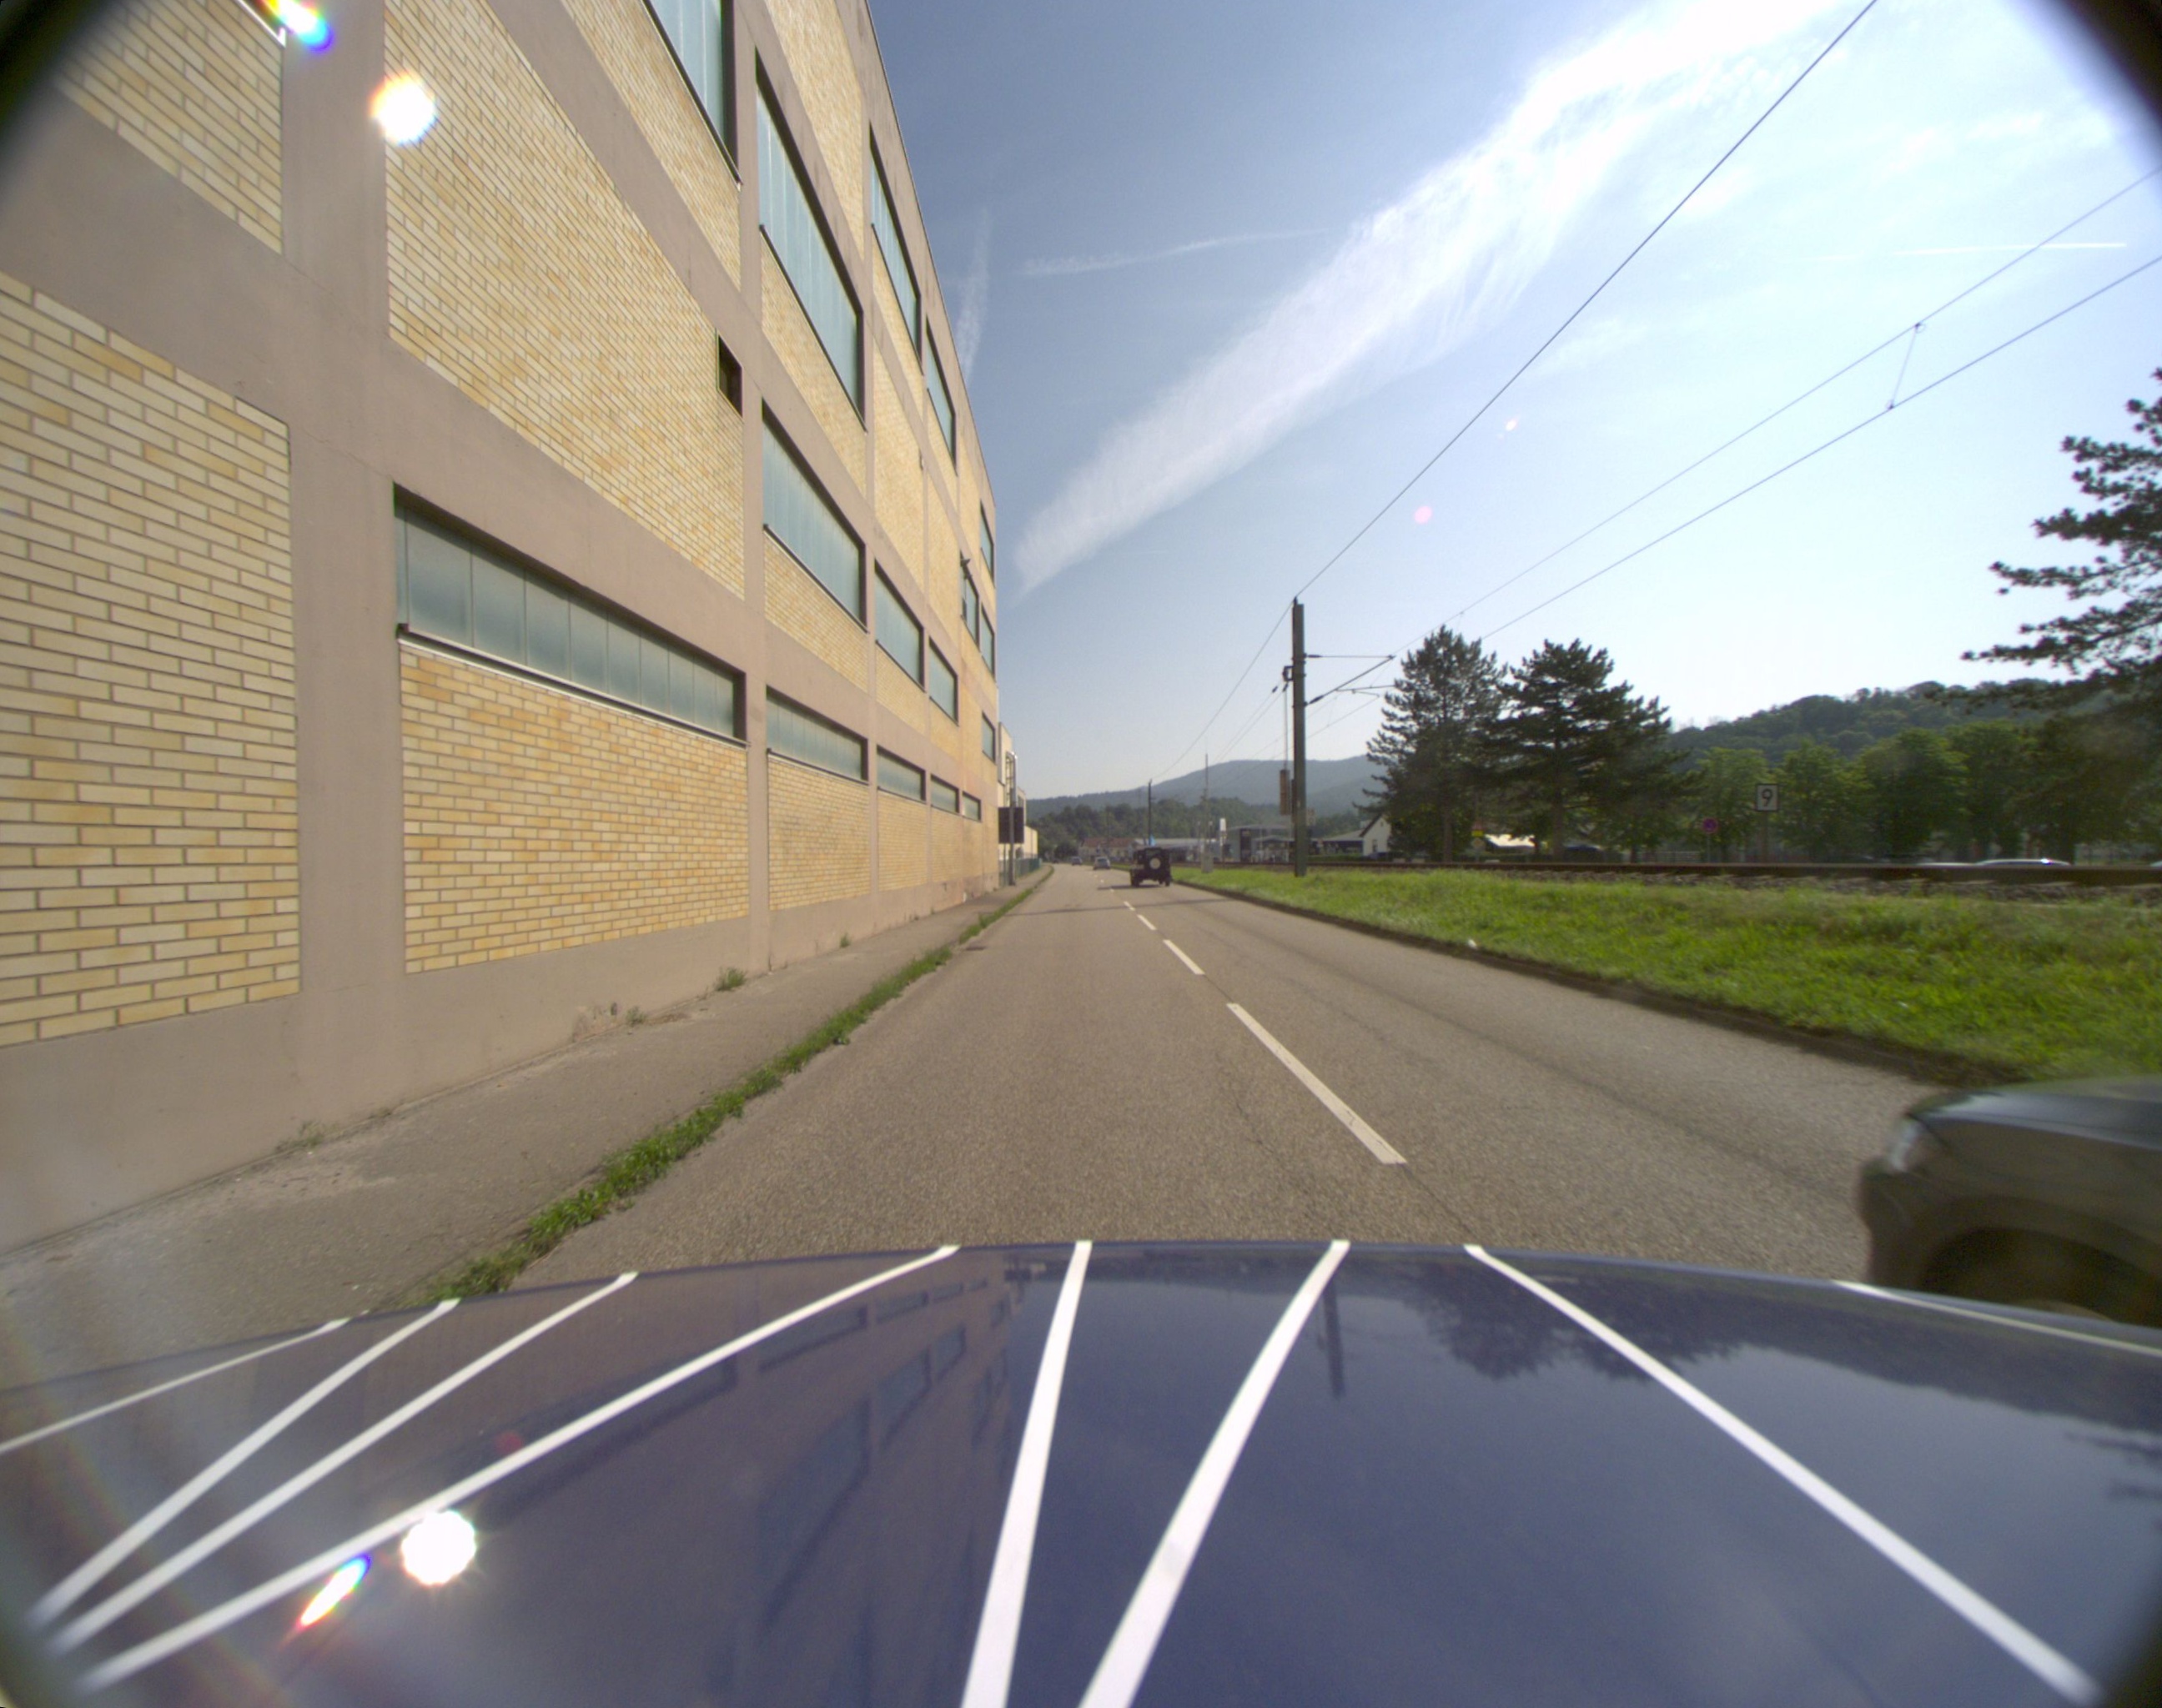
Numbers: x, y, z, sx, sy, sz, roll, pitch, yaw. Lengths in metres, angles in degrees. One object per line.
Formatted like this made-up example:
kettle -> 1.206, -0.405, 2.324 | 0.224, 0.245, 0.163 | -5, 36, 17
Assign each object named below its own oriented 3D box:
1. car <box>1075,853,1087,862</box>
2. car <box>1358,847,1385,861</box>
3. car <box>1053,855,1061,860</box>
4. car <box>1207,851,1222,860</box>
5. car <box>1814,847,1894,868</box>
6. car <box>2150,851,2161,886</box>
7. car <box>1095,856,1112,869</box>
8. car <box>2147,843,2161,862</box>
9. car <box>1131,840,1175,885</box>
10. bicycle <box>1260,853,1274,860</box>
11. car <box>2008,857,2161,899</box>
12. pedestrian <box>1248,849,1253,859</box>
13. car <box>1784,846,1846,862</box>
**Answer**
car -> -0.030, 0.685, 145.582 | 1.912, 1.591, 4.568 | -1, 1, -3
car -> 29.069, 0.023, 76.141 | 1.394, 1.344, 2.893 | 0, 1, -5
car -> -6.801, 1.098, 215.869 | 1.769, 1.395, 4.117 | -1, 0, -8
car -> 26.067, 0.247, 148.104 | 1.523, 1.679, 4.367 | -2, 1, -7
car -> 58.370, 0.256, 57.439 | 1.684, 1.539, 3.996 | 0, 0, -9
car -> 44.239, 0.571, 28.887 | 3.841, 1.398, 1.692 | 0, 1, 41
car -> 2.647, 1.007, 88.946 | 1.772, 1.397, 4.296 | 0, 0, -2
car -> 86.282, -0.106, 58.997 | 1.495, 1.472, 3.850 | 0, 0, -7
car -> 3.572, 0.388, 38.424 | 1.762, 2.066, 4.808 | -2, 0, 1
bicycle -> 30.901, 0.338, 126.325 | 2.175, 1.124, 0.729 | -1, 1, -14
car -> 36.549, 0.821, 27.372 | 1.691, 1.435, 3.841 | -1, 1, -44
pedestrian -> 23.705, -0.031, 106.198 | 0.575, 1.324, 0.673 | -1, 1, -9
car -> 69.623, 0.004, 72.083 | 1.472, 1.444, 3.990 | 0, 0, -32
